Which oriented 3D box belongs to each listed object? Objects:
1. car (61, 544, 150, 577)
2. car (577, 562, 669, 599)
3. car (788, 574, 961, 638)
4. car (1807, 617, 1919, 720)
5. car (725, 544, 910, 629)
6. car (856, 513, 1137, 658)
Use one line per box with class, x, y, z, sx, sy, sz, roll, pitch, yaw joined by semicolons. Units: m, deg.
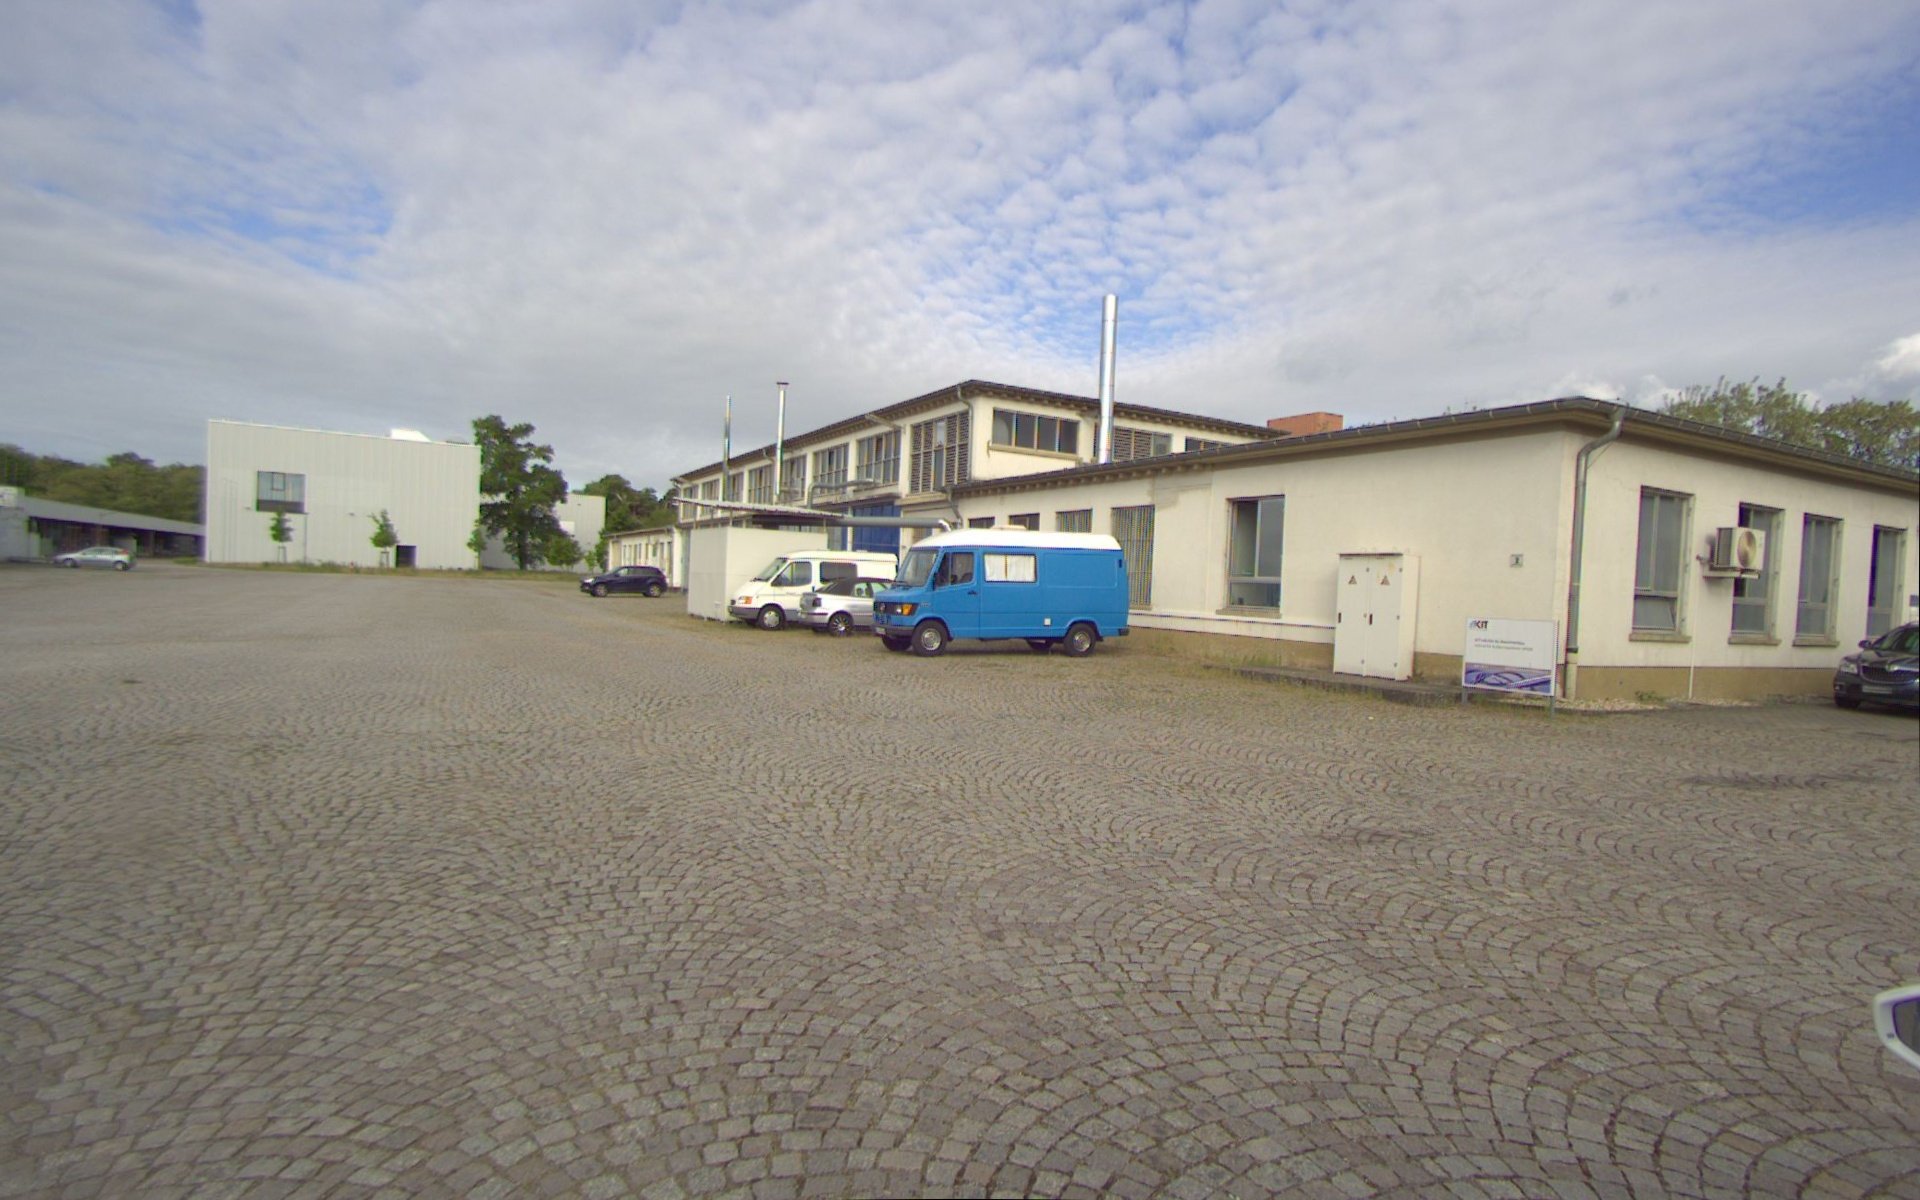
car;-57.285;-2.614;67.427;4.260;1.973;1.983;2;1;-32
car;-17.212;-0.952;51.346;4.106;1.667;1.983;3;-1;-31
car;-2.115;0.150;24.957;3.948;1.427;1.626;2;1;-27
car;16.234;1.110;16.576;4.754;1.480;1.915;2;1;-30
car;-3.885;-0.342;27.475;4.623;2.138;1.987;1;1;-26
car;0.770;-0.248;20.204;5.326;2.617;1.987;1;1;-26
